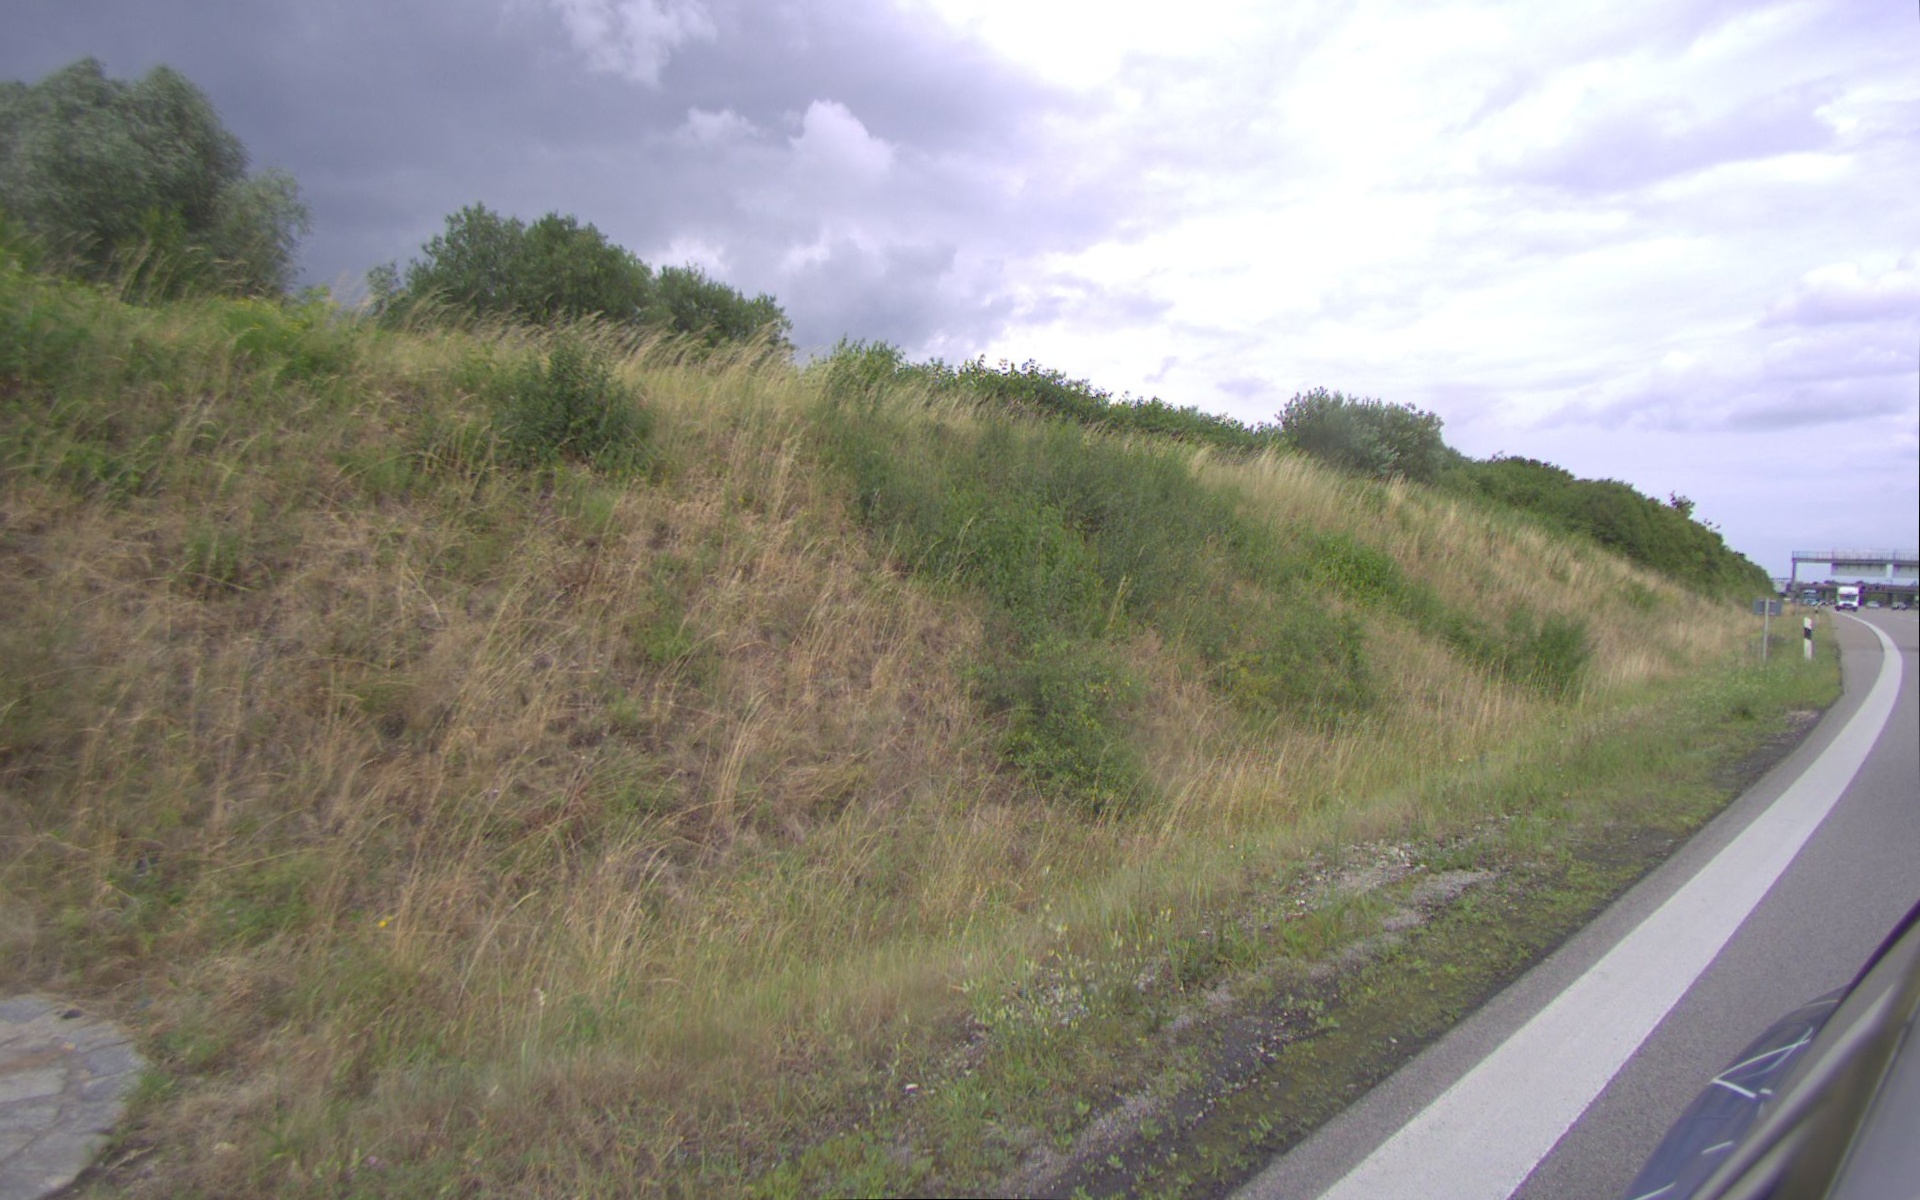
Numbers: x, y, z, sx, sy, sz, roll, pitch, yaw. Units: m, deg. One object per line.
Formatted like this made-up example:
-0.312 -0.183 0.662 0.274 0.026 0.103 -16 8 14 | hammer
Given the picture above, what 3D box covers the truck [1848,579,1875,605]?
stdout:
118.040 -1.082 132.540 2.441 3.275 7.084 2 2 41 | truck
